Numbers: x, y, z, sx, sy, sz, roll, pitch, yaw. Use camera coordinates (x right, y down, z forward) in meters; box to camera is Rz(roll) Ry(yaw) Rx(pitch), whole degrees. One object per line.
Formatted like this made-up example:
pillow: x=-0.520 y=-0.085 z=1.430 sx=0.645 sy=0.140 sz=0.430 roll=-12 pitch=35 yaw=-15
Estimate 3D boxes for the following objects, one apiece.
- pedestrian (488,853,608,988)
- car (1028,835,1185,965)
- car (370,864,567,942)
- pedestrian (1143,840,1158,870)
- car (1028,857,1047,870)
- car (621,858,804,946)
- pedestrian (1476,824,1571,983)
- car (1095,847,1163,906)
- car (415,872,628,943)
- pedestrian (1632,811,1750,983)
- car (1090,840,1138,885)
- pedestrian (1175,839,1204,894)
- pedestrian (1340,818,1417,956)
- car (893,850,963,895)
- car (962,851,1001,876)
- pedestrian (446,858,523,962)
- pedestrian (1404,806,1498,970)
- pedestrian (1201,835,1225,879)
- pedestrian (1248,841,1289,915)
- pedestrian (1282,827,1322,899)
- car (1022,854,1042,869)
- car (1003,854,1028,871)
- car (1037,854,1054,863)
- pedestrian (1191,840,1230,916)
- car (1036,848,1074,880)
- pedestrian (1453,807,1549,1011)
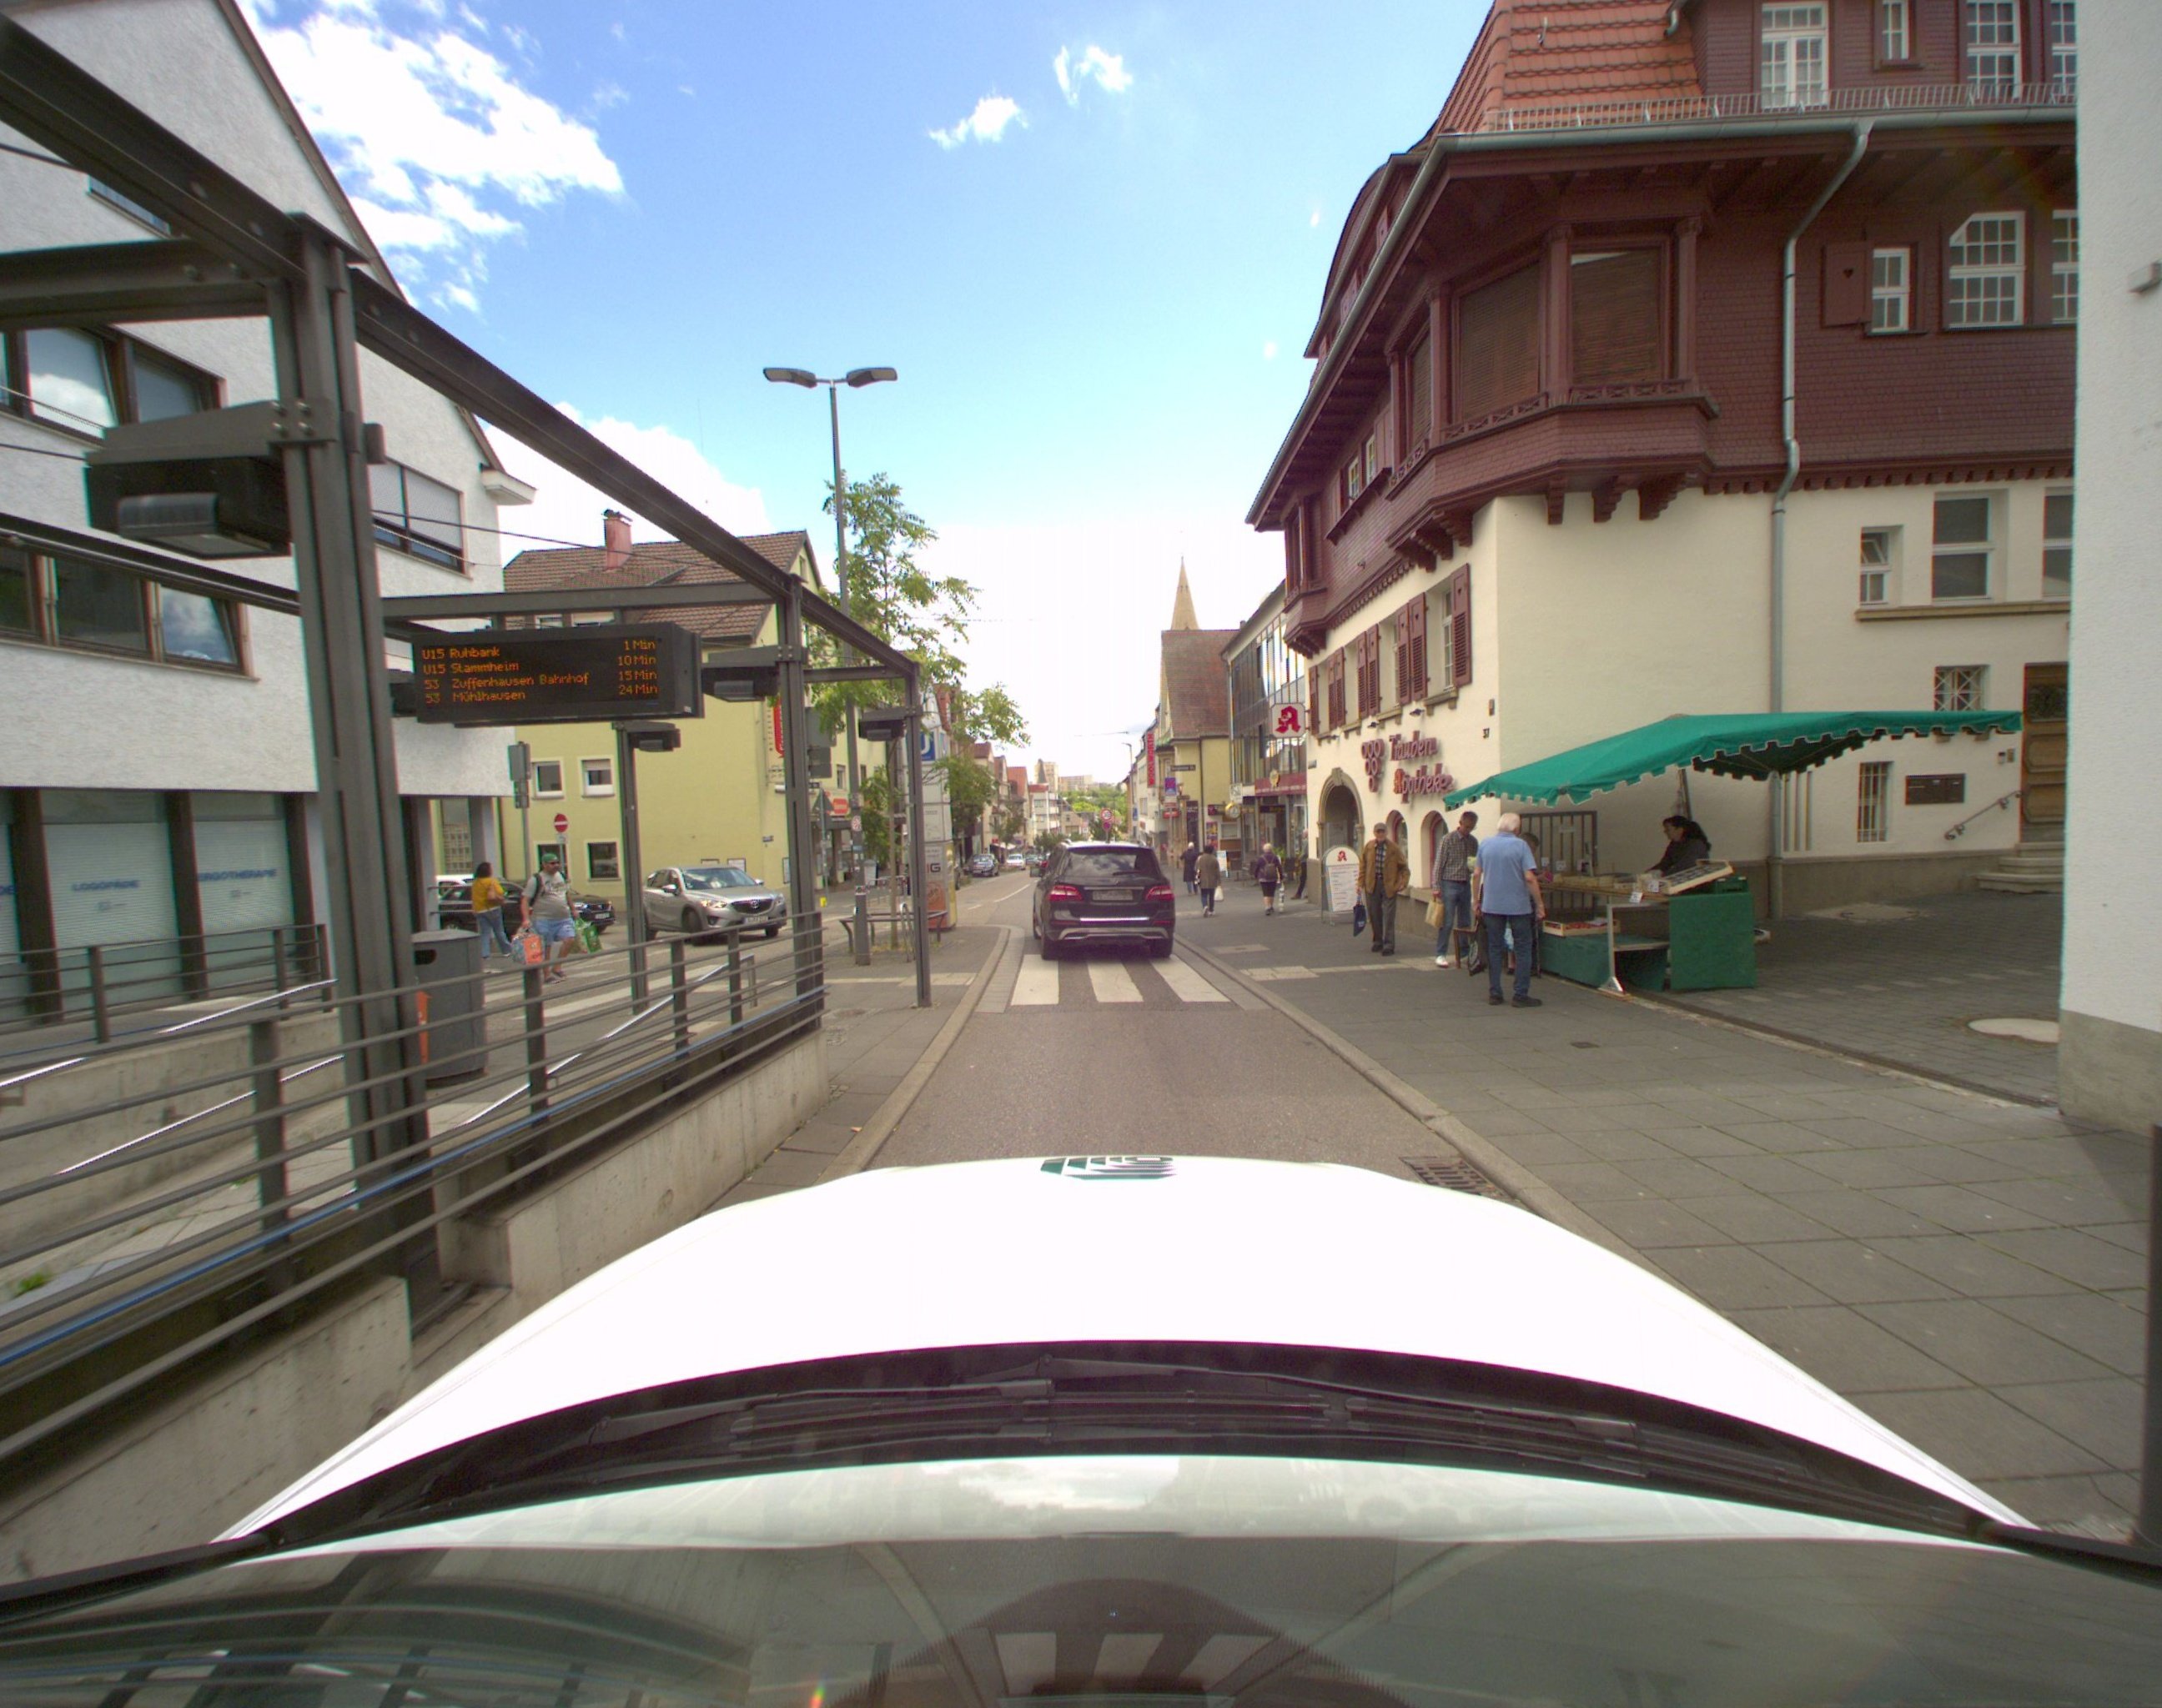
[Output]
pedestrian: x=-7.503 y=0.906 z=11.503 sx=0.909 sy=1.787 sz=0.992 roll=-2 pitch=0 yaw=17
car: x=0.226 y=0.606 z=13.180 sx=1.941 sy=1.740 sz=4.169 roll=-1 pitch=0 yaw=-7
car: x=-18.351 y=1.441 z=24.539 sx=4.318 sy=1.805 sz=2.004 roll=-5 pitch=3 yaw=5
pedestrian: x=4.196 y=0.054 z=49.122 sx=0.793 sy=1.727 sz=1.053 roll=-3 pitch=0 yaw=1
car: x=-5.333 y=1.164 z=99.829 sx=1.919 sy=1.430 sz=4.264 roll=-1 pitch=0 yaw=2
car: x=-8.102 y=0.993 z=17.750 sx=4.299 sy=1.621 sz=1.982 roll=-3 pitch=0 yaw=41
pedestrian: x=4.697 y=0.510 z=8.688 sx=0.620 sy=1.612 sz=0.704 roll=-2 pitch=0 yaw=6
car: x=1.376 y=0.610 z=24.304 sx=1.796 sy=1.555 sz=3.955 roll=-3 pitch=0 yaw=1
car: x=-14.368 y=1.349 z=21.028 sx=4.332 sy=1.569 sz=1.920 roll=-2 pitch=0 yaw=9
pedestrian: x=6.018 y=0.404 z=8.071 sx=0.620 sy=1.612 sz=0.704 roll=-2 pitch=0 yaw=6
car: x=1.520 y=0.345 z=35.786 sx=1.868 sy=1.799 sz=4.738 roll=-2 pitch=0 yaw=4
pedestrian: x=3.398 y=0.374 z=25.454 sx=0.819 sy=1.666 sz=0.803 roll=-2 pitch=0 yaw=7
pedestrian: x=4.030 y=0.434 z=11.080 sx=0.782 sy=1.801 sz=0.677 roll=-2 pitch=0 yaw=7
car: x=-6.365 y=0.724 z=34.455 sx=2.000 sy=1.693 sz=4.608 roll=-1 pitch=1 yaw=1
car: x=-6.321 y=0.591 z=52.147 sx=1.920 sy=1.492 sz=4.842 roll=0 pitch=0 yaw=0
pedestrian: x=-10.500 y=0.961 z=14.363 sx=0.635 sy=1.738 sz=0.835 roll=-3 pitch=0 yaw=-1
pedestrian: x=4.432 y=0.383 z=9.751 sx=0.771 sy=1.857 sz=0.707 roll=-2 pitch=0 yaw=44
pedestrian: x=5.295 y=0.124 z=32.628 sx=0.859 sy=1.707 sz=0.947 roll=-2 pitch=0 yaw=7
pedestrian: x=4.023 y=0.512 z=17.502 sx=0.720 sy=1.531 sz=0.809 roll=-2 pitch=0 yaw=7
pedestrian: x=5.636 y=0.218 z=20.847 sx=0.771 sy=1.769 sz=0.818 roll=-2 pitch=0 yaw=2
car: x=-5.489 y=0.815 z=92.061 sx=1.920 sy=1.621 sz=4.638 roll=-1 pitch=-1 yaw=0
car: x=-5.954 y=0.729 z=74.798 sx=1.920 sy=1.511 sz=4.261 roll=0 pitch=0 yaw=0
car: x=-8.204 y=0.958 z=188.539 sx=3.978 sy=1.750 sz=1.998 roll=-4 pitch=-1 yaw=-3
pedestrian: x=2.865 y=0.521 z=18.137 sx=0.768 sy=1.645 sz=0.872 roll=-2 pitch=0 yaw=7
car: x=-1.342 y=0.504 z=43.777 sx=1.779 sy=1.540 sz=3.745 roll=-2 pitch=0 yaw=1
pedestrian: x=3.841 y=0.479 z=7.478 sx=0.694 sy=1.766 sz=0.629 roll=-2 pitch=0 yaw=27
